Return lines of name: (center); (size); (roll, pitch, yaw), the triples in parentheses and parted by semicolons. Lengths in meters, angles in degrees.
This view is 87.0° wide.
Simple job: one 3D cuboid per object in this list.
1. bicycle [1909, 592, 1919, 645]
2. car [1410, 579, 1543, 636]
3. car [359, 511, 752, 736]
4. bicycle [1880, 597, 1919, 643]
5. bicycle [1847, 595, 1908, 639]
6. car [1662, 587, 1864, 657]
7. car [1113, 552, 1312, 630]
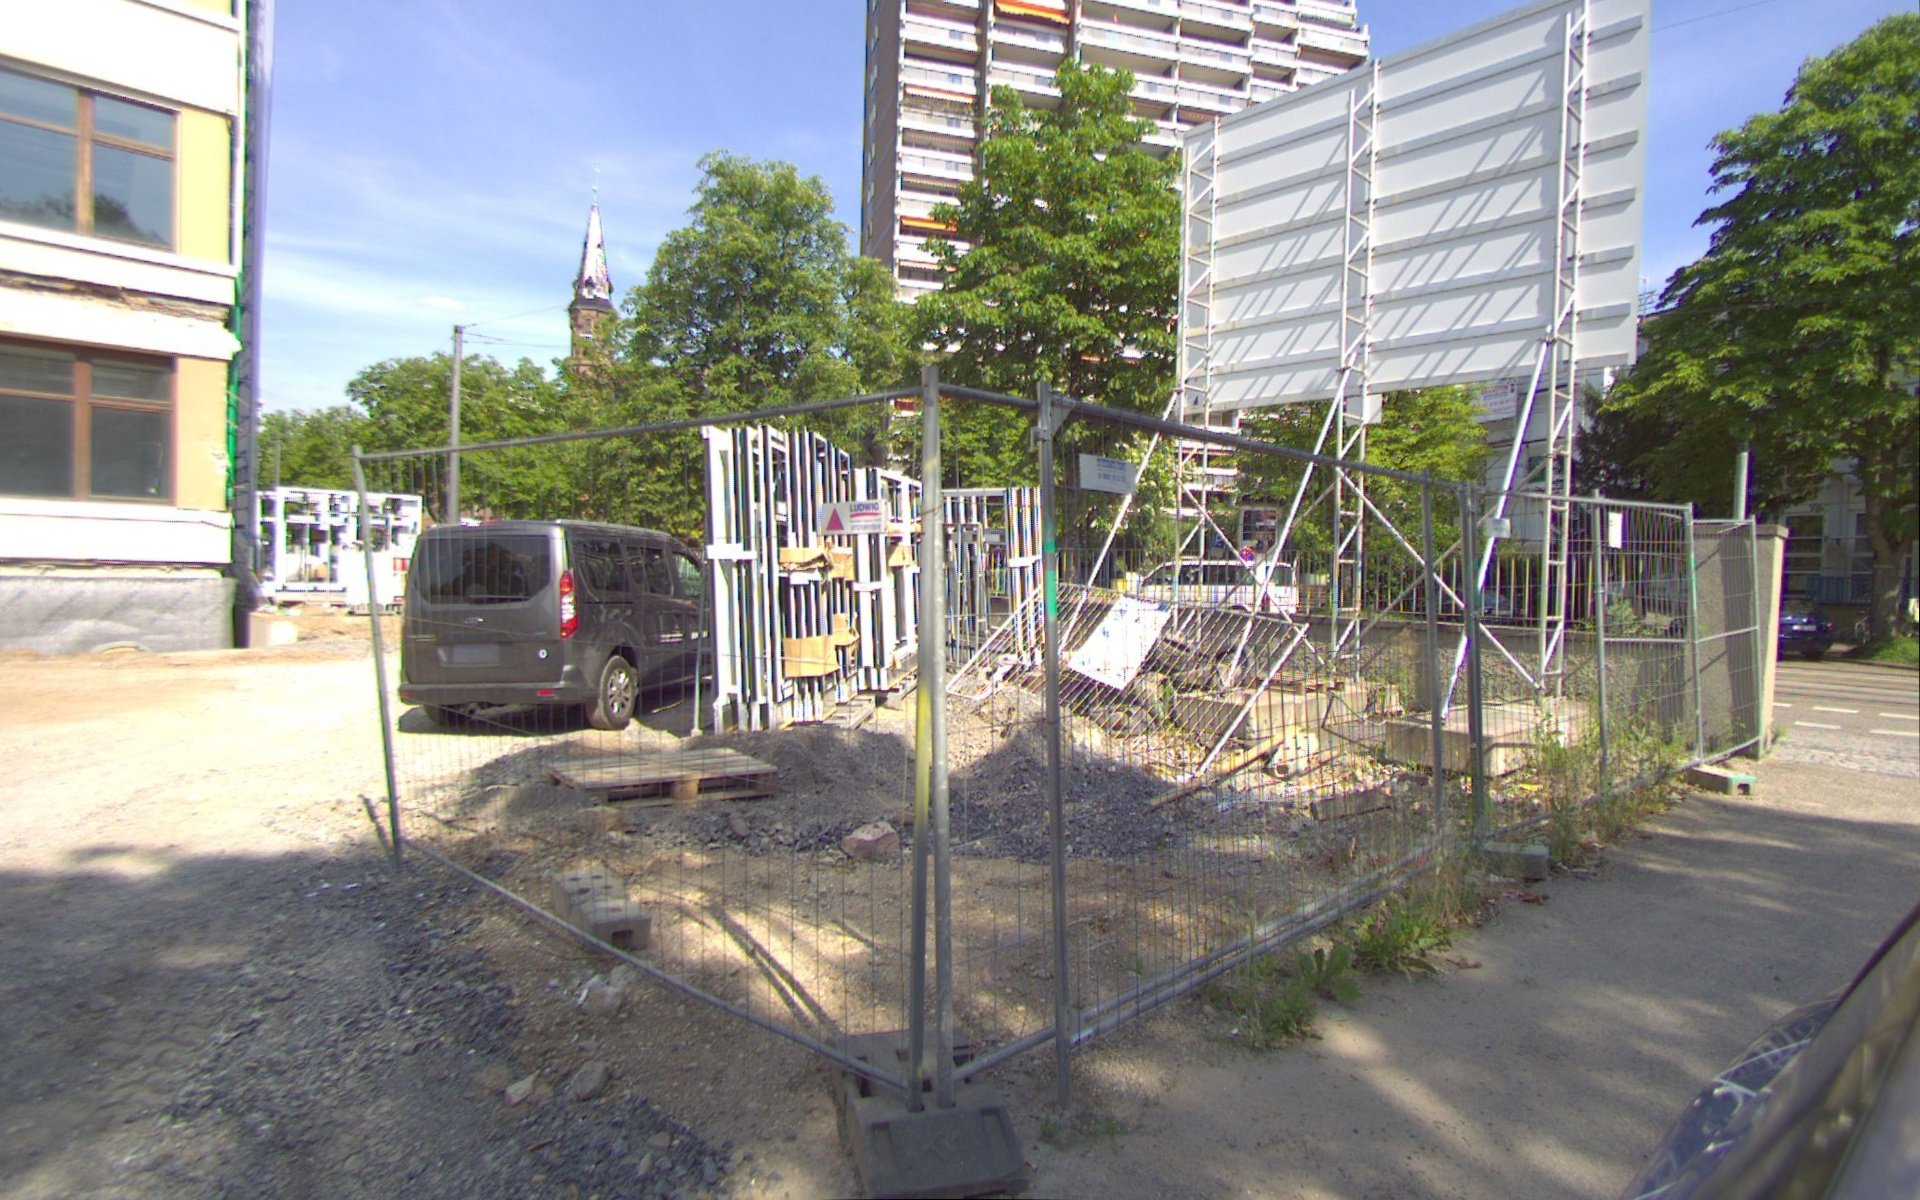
bicycle: (26.403, 0.518, 27.220); (1.974, 1.395, 0.490); (1, 1, -23)
car: (14.842, 0.159, 29.366); (1.809, 1.427, 4.147); (0, 3, 2)
car: (-3.750, 0.122, 10.363); (1.889, 1.802, 4.304); (0, 2, 8)
bicycle: (26.166, 0.544, 27.805); (1.974, 1.214, 0.490); (1, 1, -23)
bicycle: (26.041, 0.489, 28.709); (1.975, 1.214, 0.490); (1, 1, -24)
car: (19.190, 0.464, 24.438); (1.623, 1.469, 4.000); (1, 1, 0)
car: (7.021, -0.308, 28.615); (1.962, 1.970, 5.242); (1, 2, -41)
